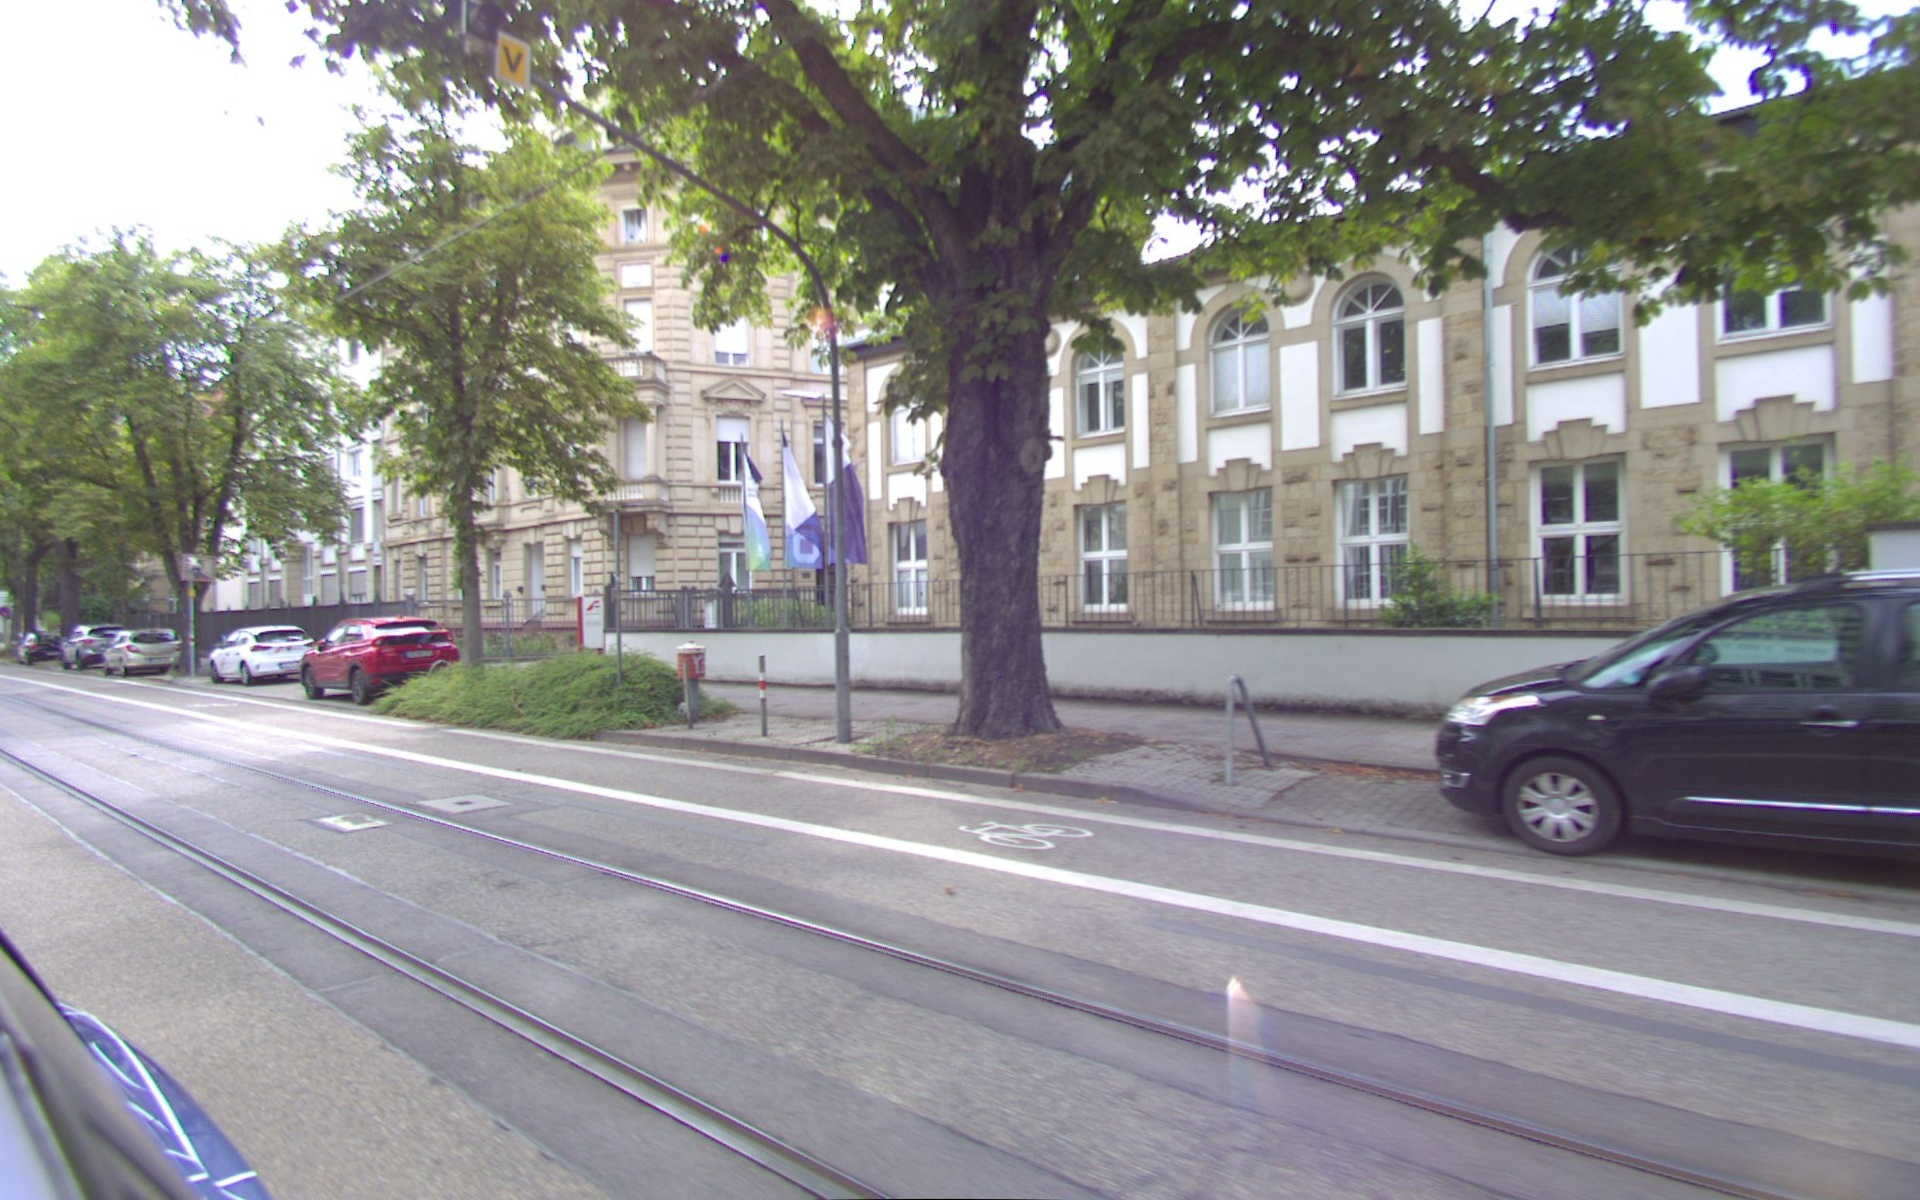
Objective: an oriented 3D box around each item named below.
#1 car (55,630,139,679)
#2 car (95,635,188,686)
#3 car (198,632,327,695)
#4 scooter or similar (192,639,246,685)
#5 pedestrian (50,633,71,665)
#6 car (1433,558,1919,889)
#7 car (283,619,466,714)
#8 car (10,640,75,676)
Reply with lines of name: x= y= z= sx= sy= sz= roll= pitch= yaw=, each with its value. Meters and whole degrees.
car: x=-32.295 y=2.010 z=37.837 sx=4.353 sy=1.686 sz=1.693 roll=-2 pitch=-1 yaw=40
car: x=-26.591 y=1.922 z=32.848 sx=4.075 sy=1.479 sz=1.584 roll=-2 pitch=-1 yaw=40
car: x=-18.447 y=1.631 z=26.694 sx=4.019 sy=1.434 sz=1.704 roll=-2 pitch=1 yaw=39
scooter or similar: x=-20.913 y=1.745 z=28.571 sx=1.312 sy=1.232 sz=0.560 roll=-2 pitch=-1 yaw=17
pedestrian: x=-49.754 y=2.715 z=55.972 sx=0.699 sy=1.748 sz=0.699 roll=-2 pitch=0 yaw=35
car: x=5.170 y=0.605 z=5.893 sx=4.048 sy=1.659 sz=1.738 roll=-2 pitch=0 yaw=40
car: x=-12.099 y=1.297 z=20.794 sx=4.537 sy=1.667 sz=1.704 roll=-2 pitch=1 yaw=39
car: x=-41.430 y=2.577 z=45.659 sx=4.164 sy=1.435 sz=1.702 roll=-2 pitch=1 yaw=42
